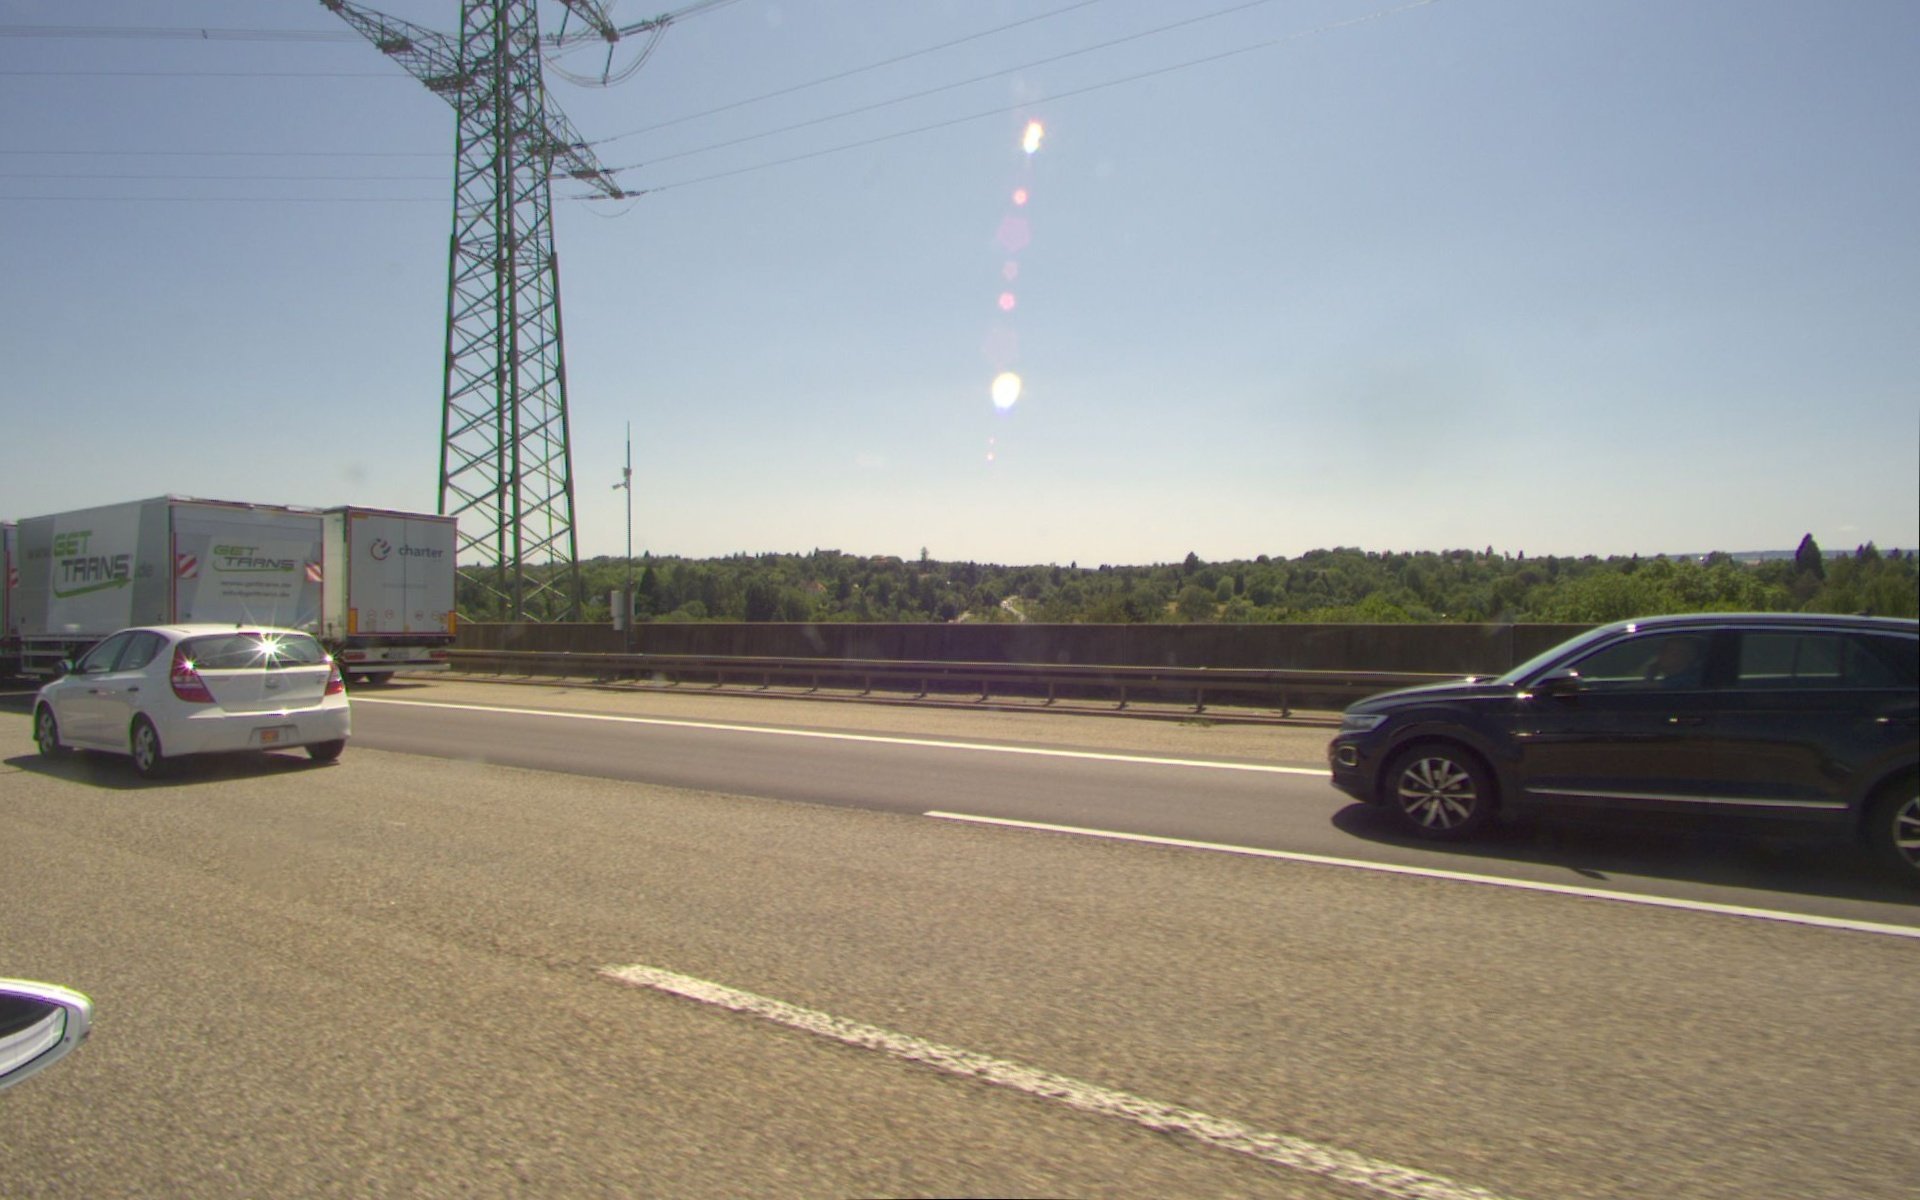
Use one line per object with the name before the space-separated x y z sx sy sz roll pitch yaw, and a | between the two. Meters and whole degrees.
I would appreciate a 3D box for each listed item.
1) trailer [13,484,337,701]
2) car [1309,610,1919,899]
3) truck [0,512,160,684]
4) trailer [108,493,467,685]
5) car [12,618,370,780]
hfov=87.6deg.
trailer | -16.285 -0.097 20.586 7.897 3.749 2.693 0 0 32
car | 4.630 0.866 6.744 4.047 1.546 1.733 -1 -2 32
truck | -24.293 0.001 25.488 10.850 3.696 2.652 0 0 32
trailer | -18.235 -0.150 26.521 13.231 4.195 2.710 0 -1 32
car | -8.576 0.942 11.084 4.231 1.474 1.785 0 -1 32
